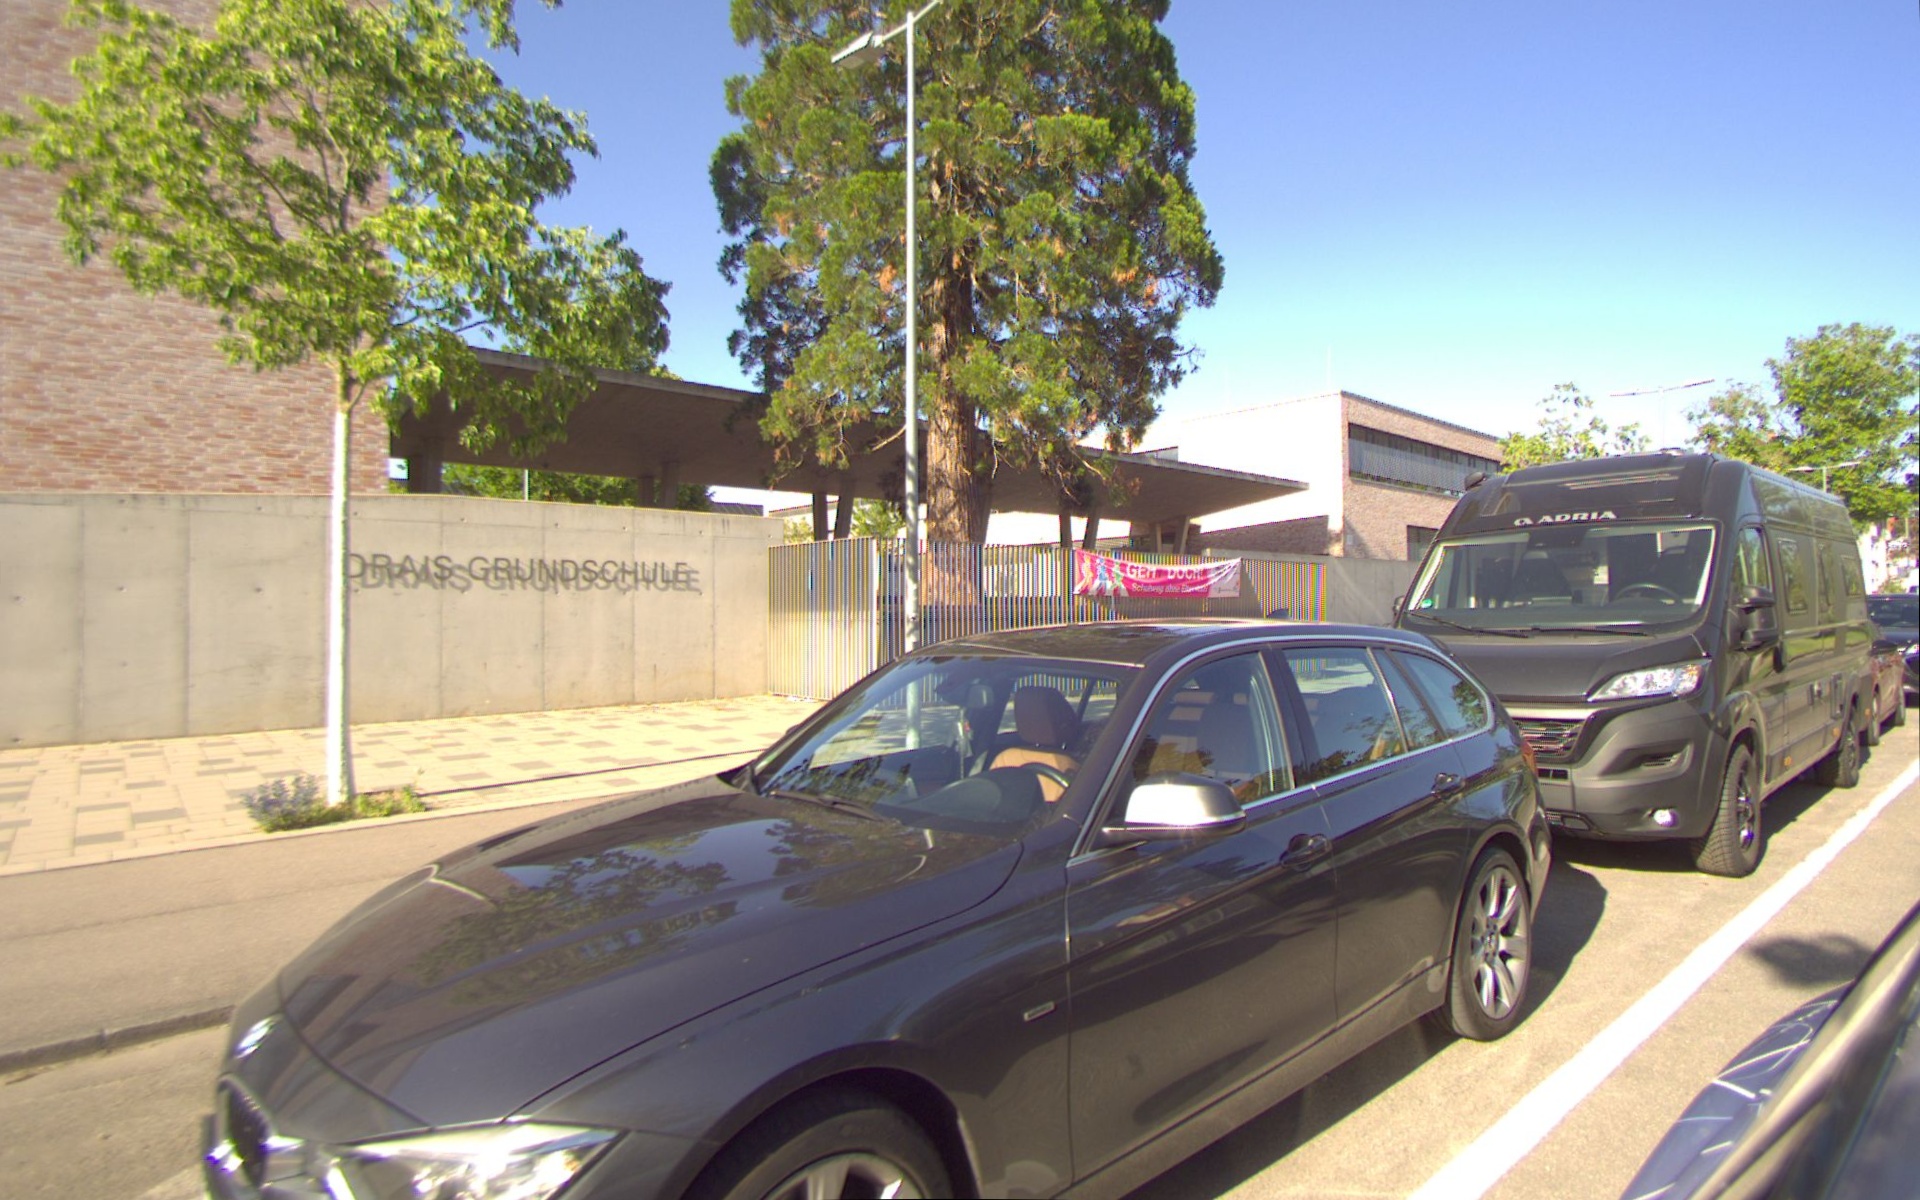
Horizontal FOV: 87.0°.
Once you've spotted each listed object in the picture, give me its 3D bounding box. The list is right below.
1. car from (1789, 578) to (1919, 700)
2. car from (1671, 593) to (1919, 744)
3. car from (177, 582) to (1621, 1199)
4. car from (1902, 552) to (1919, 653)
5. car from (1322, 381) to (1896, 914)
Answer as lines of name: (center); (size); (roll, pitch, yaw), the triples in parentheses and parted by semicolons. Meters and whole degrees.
car: (14.477, 0.516, 15.671); (4.426, 1.661, 1.848); (-1, 0, -42)
car: (10.061, 0.678, 12.018); (3.881, 1.473, 1.797); (-1, 0, -42)
car: (0.297, 0.685, 3.390); (4.554, 1.438, 1.997); (-1, 0, -40)
car: (27.233, 0.008, 27.140); (5.337, 2.607, 2.244); (-1, -1, -41)
car: (5.390, 0.201, 7.799); (6.421, 2.548, 2.117); (-1, -1, -42)
